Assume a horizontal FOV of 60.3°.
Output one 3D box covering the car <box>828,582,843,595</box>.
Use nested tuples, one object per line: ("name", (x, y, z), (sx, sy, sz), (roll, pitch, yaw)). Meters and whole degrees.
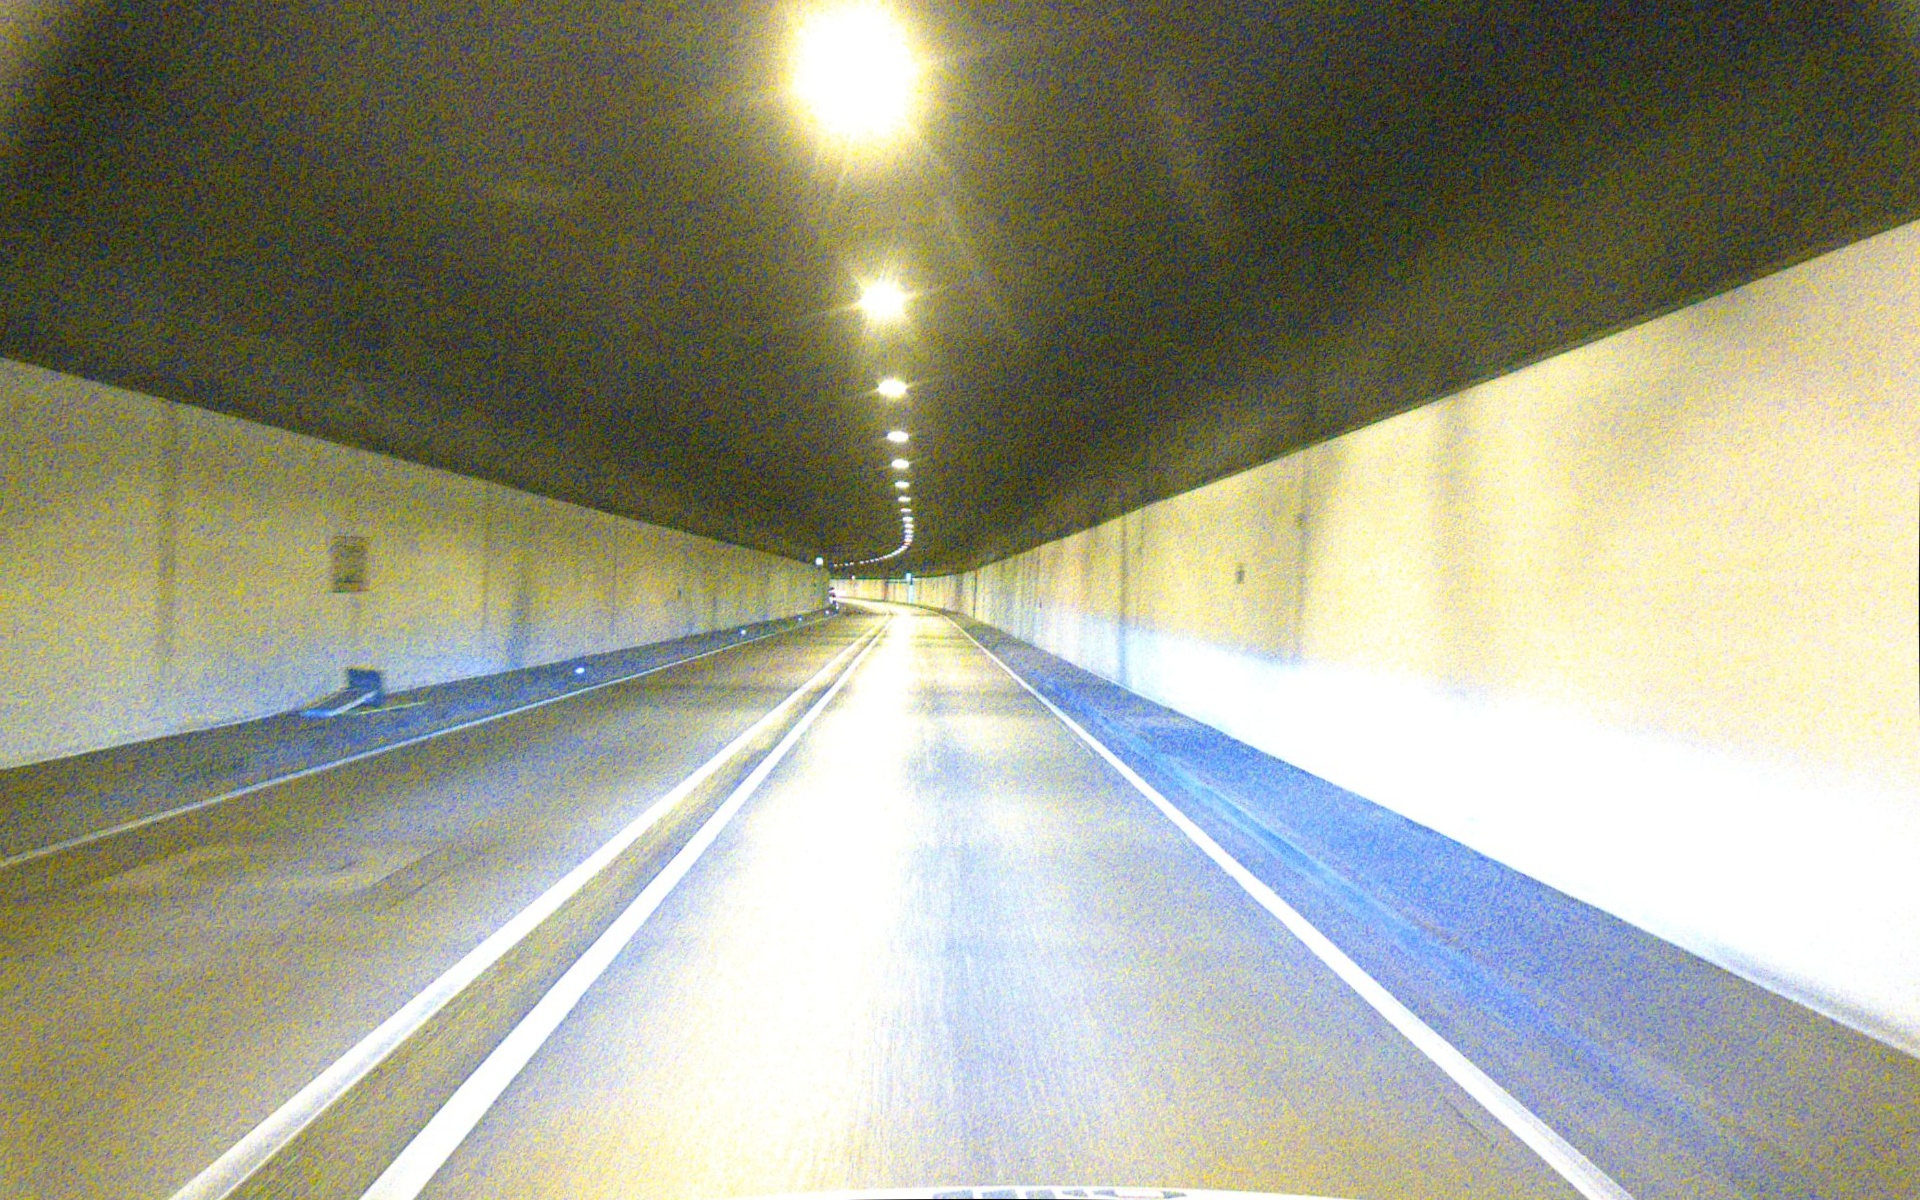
("car", (-19.230, -1.794, 255.706), (1.931, 1.972, 4.603), (2, -1, -9))
